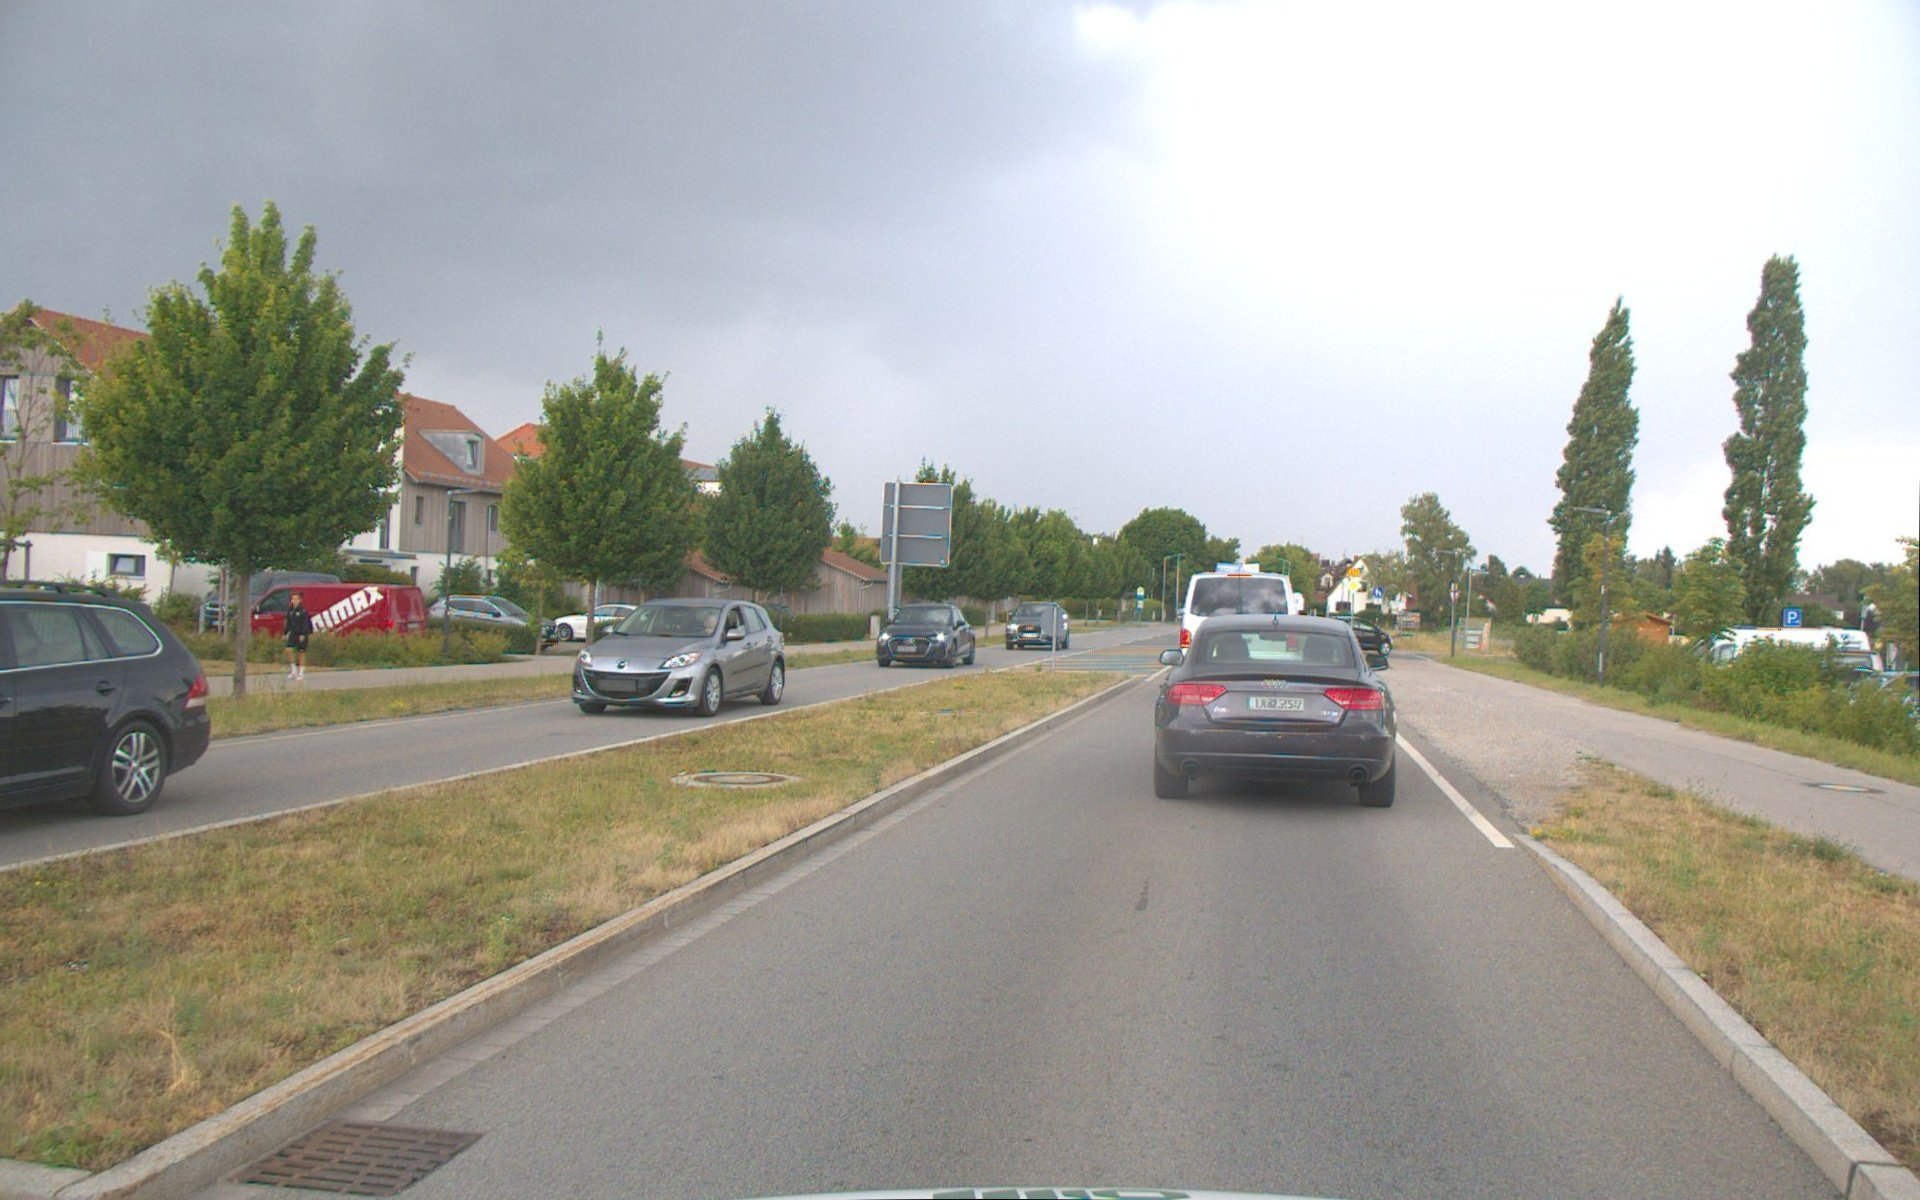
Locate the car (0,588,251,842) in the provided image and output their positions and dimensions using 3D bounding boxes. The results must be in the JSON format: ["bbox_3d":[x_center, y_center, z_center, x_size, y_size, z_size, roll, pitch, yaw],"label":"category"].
[{"bbox_3d":[-6.281,0.645,9.573,1.716,1.441,4.459,1,0,12],"label":"car"}]

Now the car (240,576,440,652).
[{"bbox_3d":[-15.981,0.346,42.699,4.434,1.709,2.001,2,0,14],"label":"car"}]

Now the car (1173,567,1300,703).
[{"bbox_3d":[4.311,0.537,26.054,1.827,1.968,4.003,0,-1,8],"label":"car"}]

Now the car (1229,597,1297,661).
[{"bbox_3d":[8.608,0.797,46.813,1.739,1.646,4.003,2,0,11],"label":"car"}]

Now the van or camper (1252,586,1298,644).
[{"bbox_3d":[19.781,0.971,104.013,2.569,3.381,6.826,2,-1,10],"label":"van or camper"}]

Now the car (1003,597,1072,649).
[{"bbox_3d":[2.648,0.764,55.781,1.827,1.601,4.003,2,0,9],"label":"car"}]

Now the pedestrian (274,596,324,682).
[{"bbox_3d":[-12.477,0.735,31.241,0.569,1.586,0.660,2,0,9],"label":"pedestrian"}]

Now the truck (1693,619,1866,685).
[{"bbox_3d":[27.135,1.695,54.884,4.695,1.905,2.001,3,0,6],"label":"truck"}]

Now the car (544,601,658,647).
[{"bbox_3d":[-13.143,0.867,60.675,3.650,1.507,1.688,3,0,7],"label":"car"}]

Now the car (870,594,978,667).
[{"bbox_3d":[-0.786,0.680,38.738,1.827,1.601,4.003,1,0,9],"label":"car"}]

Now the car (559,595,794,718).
[{"bbox_3d":[-3.627,0.676,21.963,1.693,1.434,4.209,1,0,11],"label":"car"}]

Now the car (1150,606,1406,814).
[{"bbox_3d":[2.514,0.787,13.606,1.746,1.416,4.136,1,-1,8],"label":"car"}]

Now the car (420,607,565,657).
[{"bbox_3d":[-14.447,0.976,51.222,3.831,1.338,1.844,3,0,8],"label":"car"}]

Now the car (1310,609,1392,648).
[{"bbox_3d":[15.650,1.145,66.156,3.481,1.396,1.422,3,-1,-41],"label":"car"}]

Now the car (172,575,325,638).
[{"bbox_3d":[-22.027,0.231,51.393,1.951,1.803,4.468,2,-1,15],"label":"car"}]
